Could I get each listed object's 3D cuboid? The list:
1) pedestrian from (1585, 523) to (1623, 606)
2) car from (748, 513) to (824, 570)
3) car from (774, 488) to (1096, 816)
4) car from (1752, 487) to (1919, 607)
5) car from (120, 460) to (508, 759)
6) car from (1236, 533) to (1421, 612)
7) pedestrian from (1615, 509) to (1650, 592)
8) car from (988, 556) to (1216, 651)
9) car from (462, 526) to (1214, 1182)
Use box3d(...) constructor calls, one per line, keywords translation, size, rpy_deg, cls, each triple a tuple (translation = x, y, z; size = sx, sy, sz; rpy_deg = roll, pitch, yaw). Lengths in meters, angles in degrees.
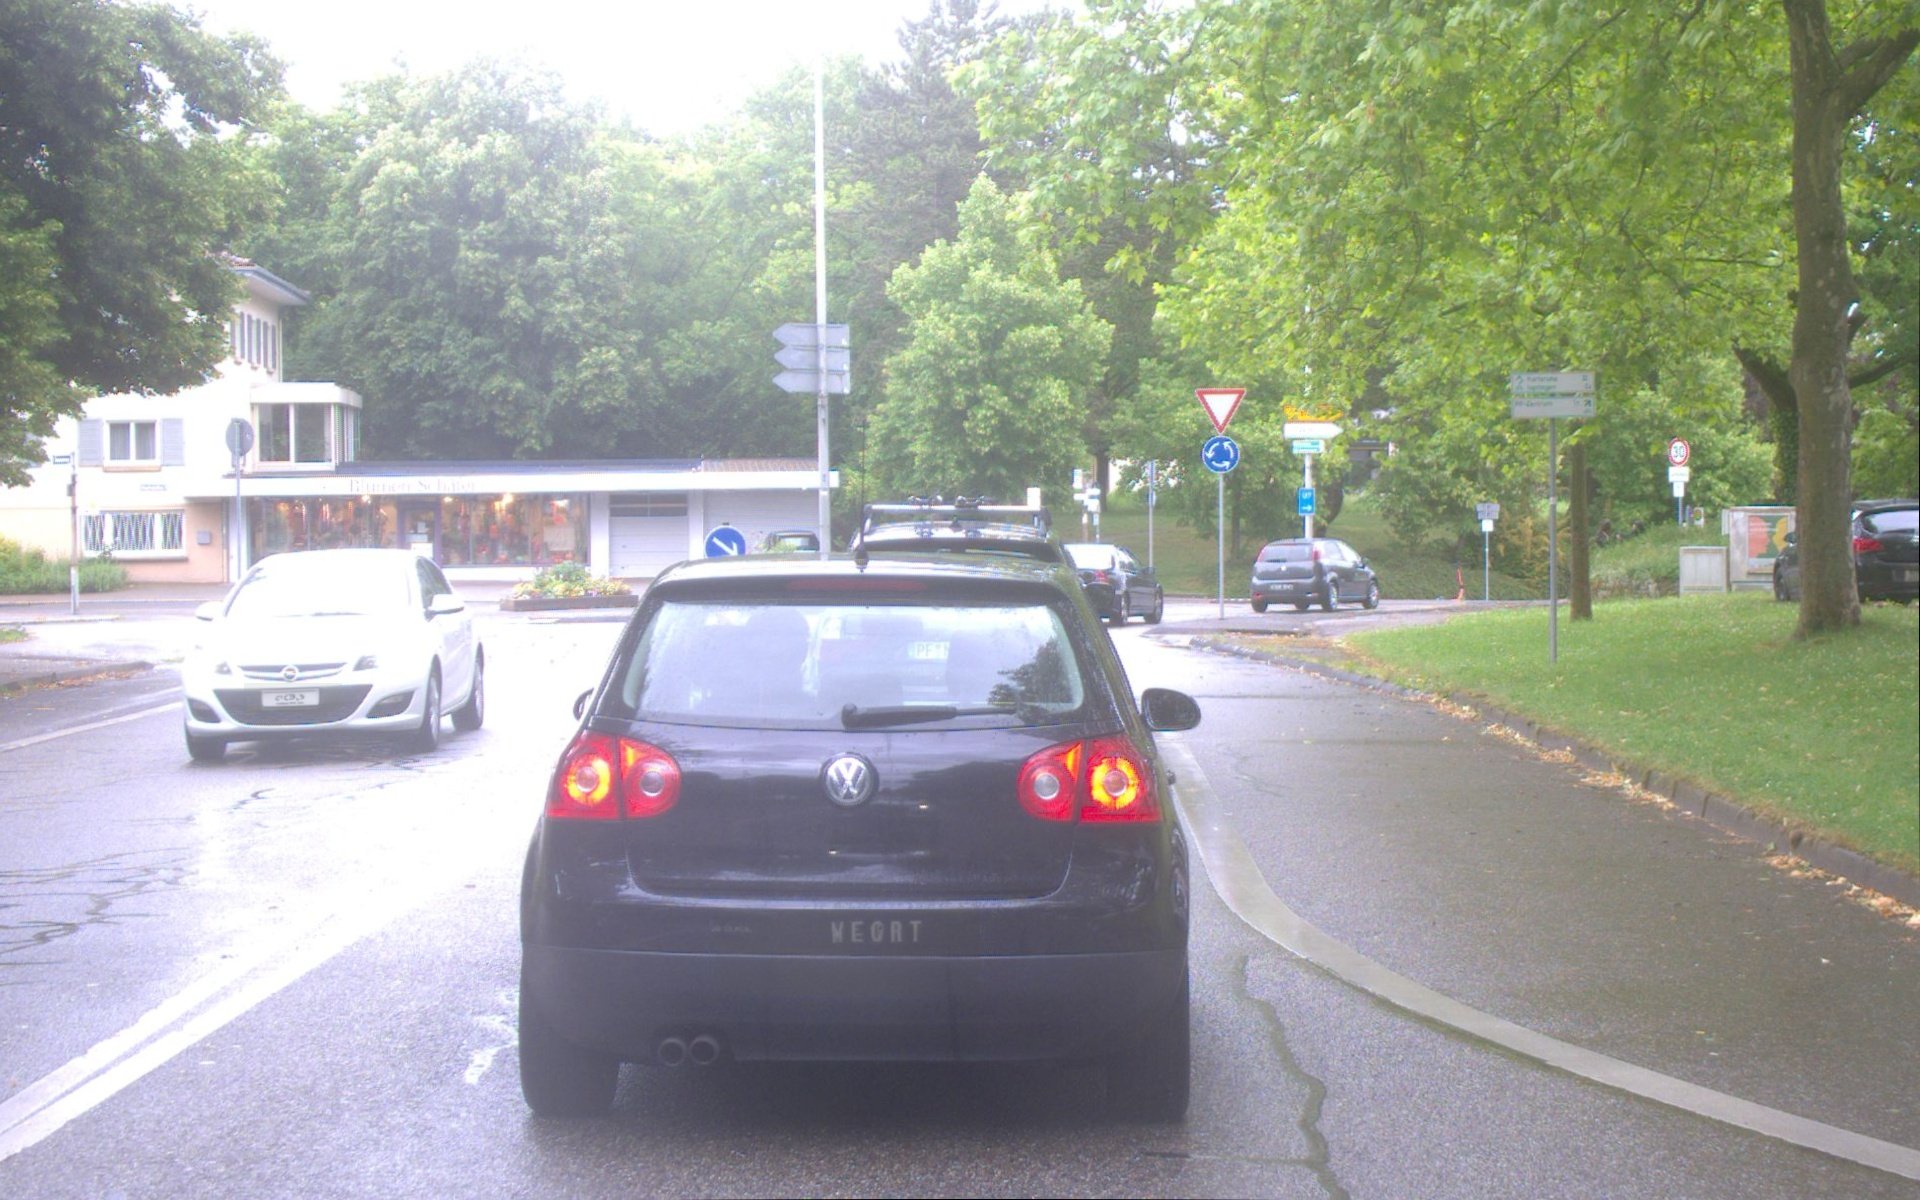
box3d(translation=(13.343, -0.735, 71.187), size=(0.528, 1.707, 0.636), rpy_deg=(1, 0, -14), cls="pedestrian")
box3d(translation=(-4.783, -1.621, 94.074), size=(1.812, 1.481, 3.832), rpy_deg=(-2, 1, -6), cls="car")
box3d(translation=(-0.168, 0.268, 21.398), size=(1.764, 1.795, 4.246), rpy_deg=(-1, 1, -1), cls="car")
box3d(translation=(11.960, -0.710, 45.496), size=(1.764, 1.466, 4.598), rpy_deg=(-2, 1, -1), cls="car")
box3d(translation=(-4.712, 0.037, 25.759), size=(1.993, 2.007, 4.574), rpy_deg=(1, 1, 0), cls="car")
box3d(translation=(7.417, -0.547, 68.963), size=(1.997, 1.525, 3.992), rpy_deg=(1, 1, 35), cls="car")
box3d(translation=(14.097, -1.035, 72.022), size=(0.634, 1.707, 0.529), rpy_deg=(1, 0, 17), cls="pedestrian")
box3d(translation=(2.426, 0.050, 57.899), size=(1.997, 1.525, 3.992), rpy_deg=(1, 1, 35), cls="car")
box3d(translation=(-0.316, 0.584, 10.182), size=(1.764, 1.533, 4.000), rpy_deg=(1, 1, -1), cls="car")
